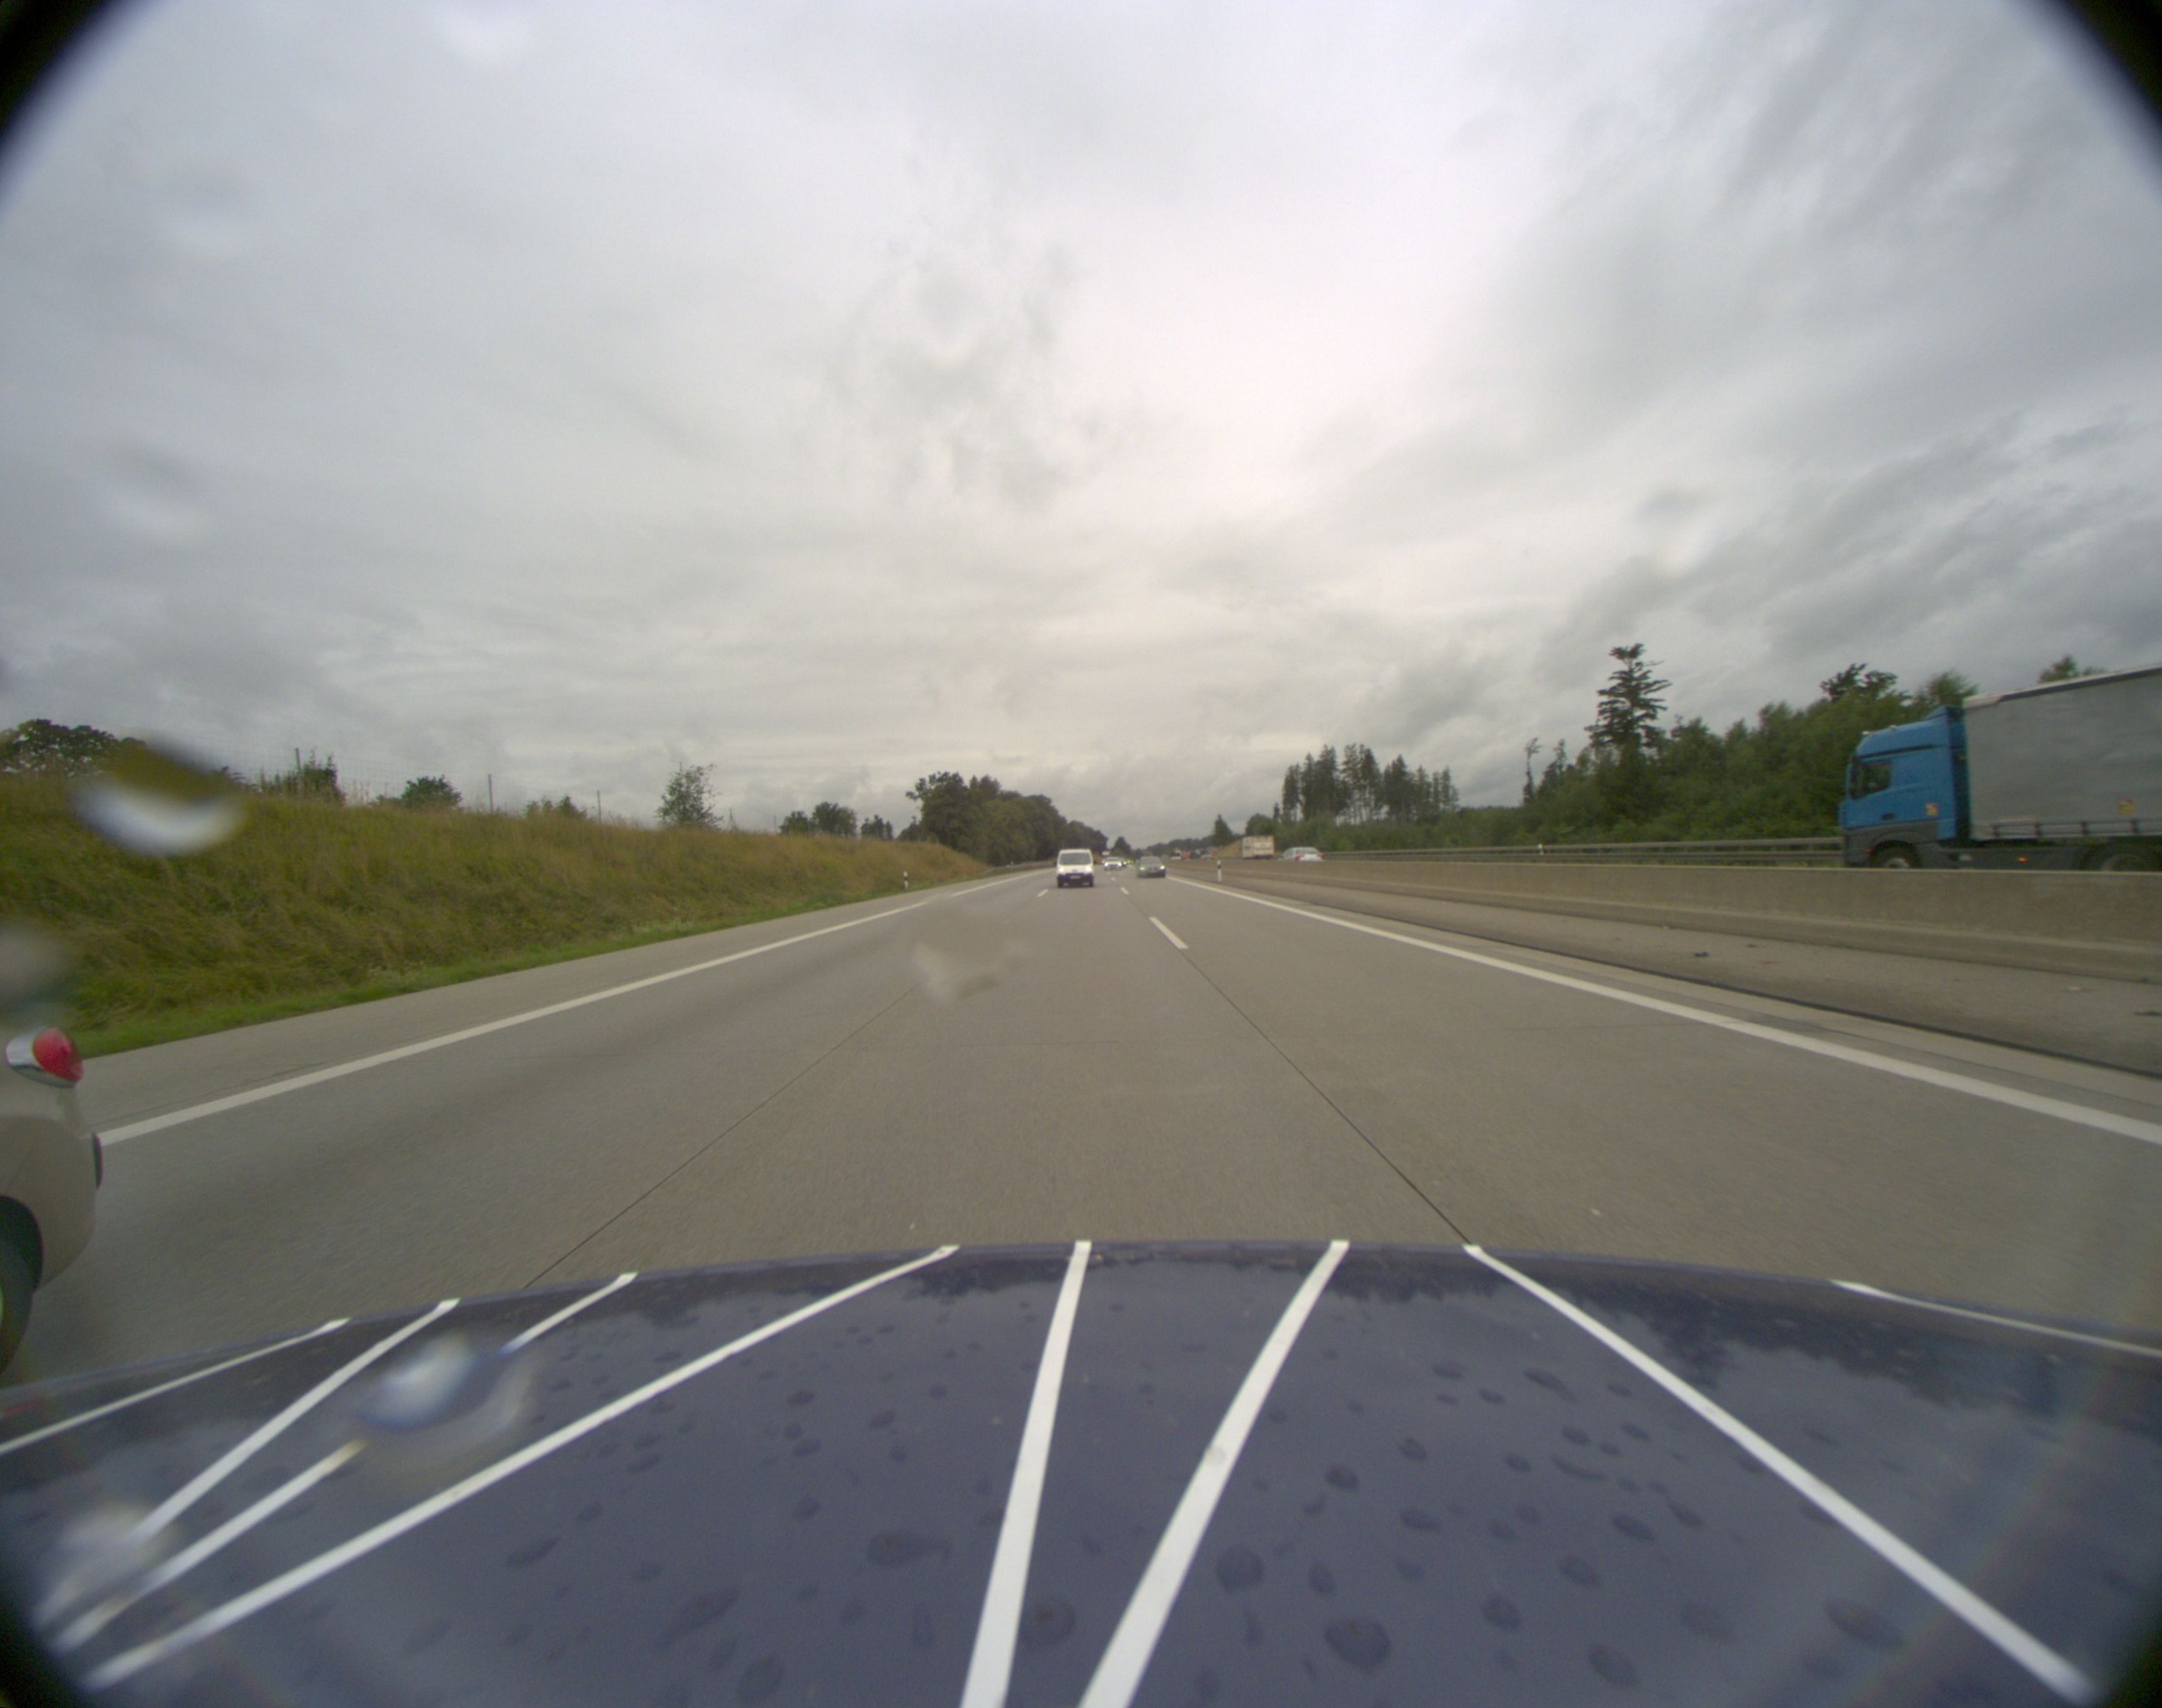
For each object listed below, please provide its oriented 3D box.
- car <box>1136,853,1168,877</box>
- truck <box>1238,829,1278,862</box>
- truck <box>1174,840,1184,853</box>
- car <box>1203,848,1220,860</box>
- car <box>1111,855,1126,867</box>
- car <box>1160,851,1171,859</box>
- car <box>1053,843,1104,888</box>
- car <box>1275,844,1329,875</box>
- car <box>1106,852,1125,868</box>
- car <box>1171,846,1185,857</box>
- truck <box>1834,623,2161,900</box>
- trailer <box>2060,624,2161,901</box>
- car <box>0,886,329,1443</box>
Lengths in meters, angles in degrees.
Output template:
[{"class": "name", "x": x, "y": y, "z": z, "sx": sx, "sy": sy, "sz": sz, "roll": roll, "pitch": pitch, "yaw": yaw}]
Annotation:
[{"class": "car", "x": 4.774, "y": 0.729, "z": 51.491, "sx": 1.789, "sy": 1.472, "sz": 4.571, "roll": -2, "pitch": 0, "yaw": 2}, {"class": "truck", "x": 22.063, "y": -1.052, "z": 95.189, "sx": 2.906, "sy": 3.841, "sz": 8.900, "roll": -2, "pitch": 0, "yaw": 1}, {"class": "truck", "x": 32.979, "y": -2.452, "z": 255.900, "sx": 2.843, "sy": 4.108, "sz": 8.853, "roll": -2, "pitch": 0, "yaw": 3}, {"class": "car", "x": 18.395, "y": 0.040, "z": 107.315, "sx": 1.633, "sy": 1.557, "sz": 4.411, "roll": -2, "pitch": 0, "yaw": 2}, {"class": "car", "x": 5.210, "y": 0.962, "z": 105.500, "sx": 1.885, "sy": 1.669, "sz": 4.319, "roll": -2, "pitch": 0, "yaw": 2}, {"class": "car", "x": 16.296, "y": 0.142, "z": 146.831, "sx": 1.746, "sy": 1.557, "sz": 4.499, "roll": -2, "pitch": 0, "yaw": 2}, {"class": "car", "x": -0.015, "y": 0.553, "z": 39.637, "sx": 2.042, "sy": 2.111, "sz": 6.070, "roll": -2, "pitch": 0, "yaw": 5}, {"class": "car", "x": 12.297, "y": 0.298, "z": 42.527, "sx": 1.702, "sy": 1.605, "sz": 4.720, "roll": -2, "pitch": 0, "yaw": 2}, {"class": "car", "x": 3.902, "y": 0.652, "z": 86.309, "sx": 2.031, "sy": 1.669, "sz": 4.319, "roll": -2, "pitch": 0, "yaw": 3}, {"class": "car", "x": 21.956, "y": -0.487, "z": 172.638, "sx": 2.627, "sy": 2.386, "sz": 7.518, "roll": -2, "pitch": 0, "yaw": 3}, {"class": "truck", "x": 19.411, "y": -1.605, "z": 15.435, "sx": 2.935, "sy": 4.649, "sz": 5.232, "roll": -2, "pitch": 0, "yaw": 0}, {"class": "trailer", "x": 19.320, "y": -1.561, "z": 7.077, "sx": 2.923, "sy": 4.598, "sz": 13.637, "roll": -2, "pitch": 0, "yaw": 1}, {"class": "car", "x": -4.096, "y": 0.964, "z": 0.902, "sx": 1.789, "sy": 1.595, "sz": 4.570, "roll": -2, "pitch": 0, "yaw": 0}]
